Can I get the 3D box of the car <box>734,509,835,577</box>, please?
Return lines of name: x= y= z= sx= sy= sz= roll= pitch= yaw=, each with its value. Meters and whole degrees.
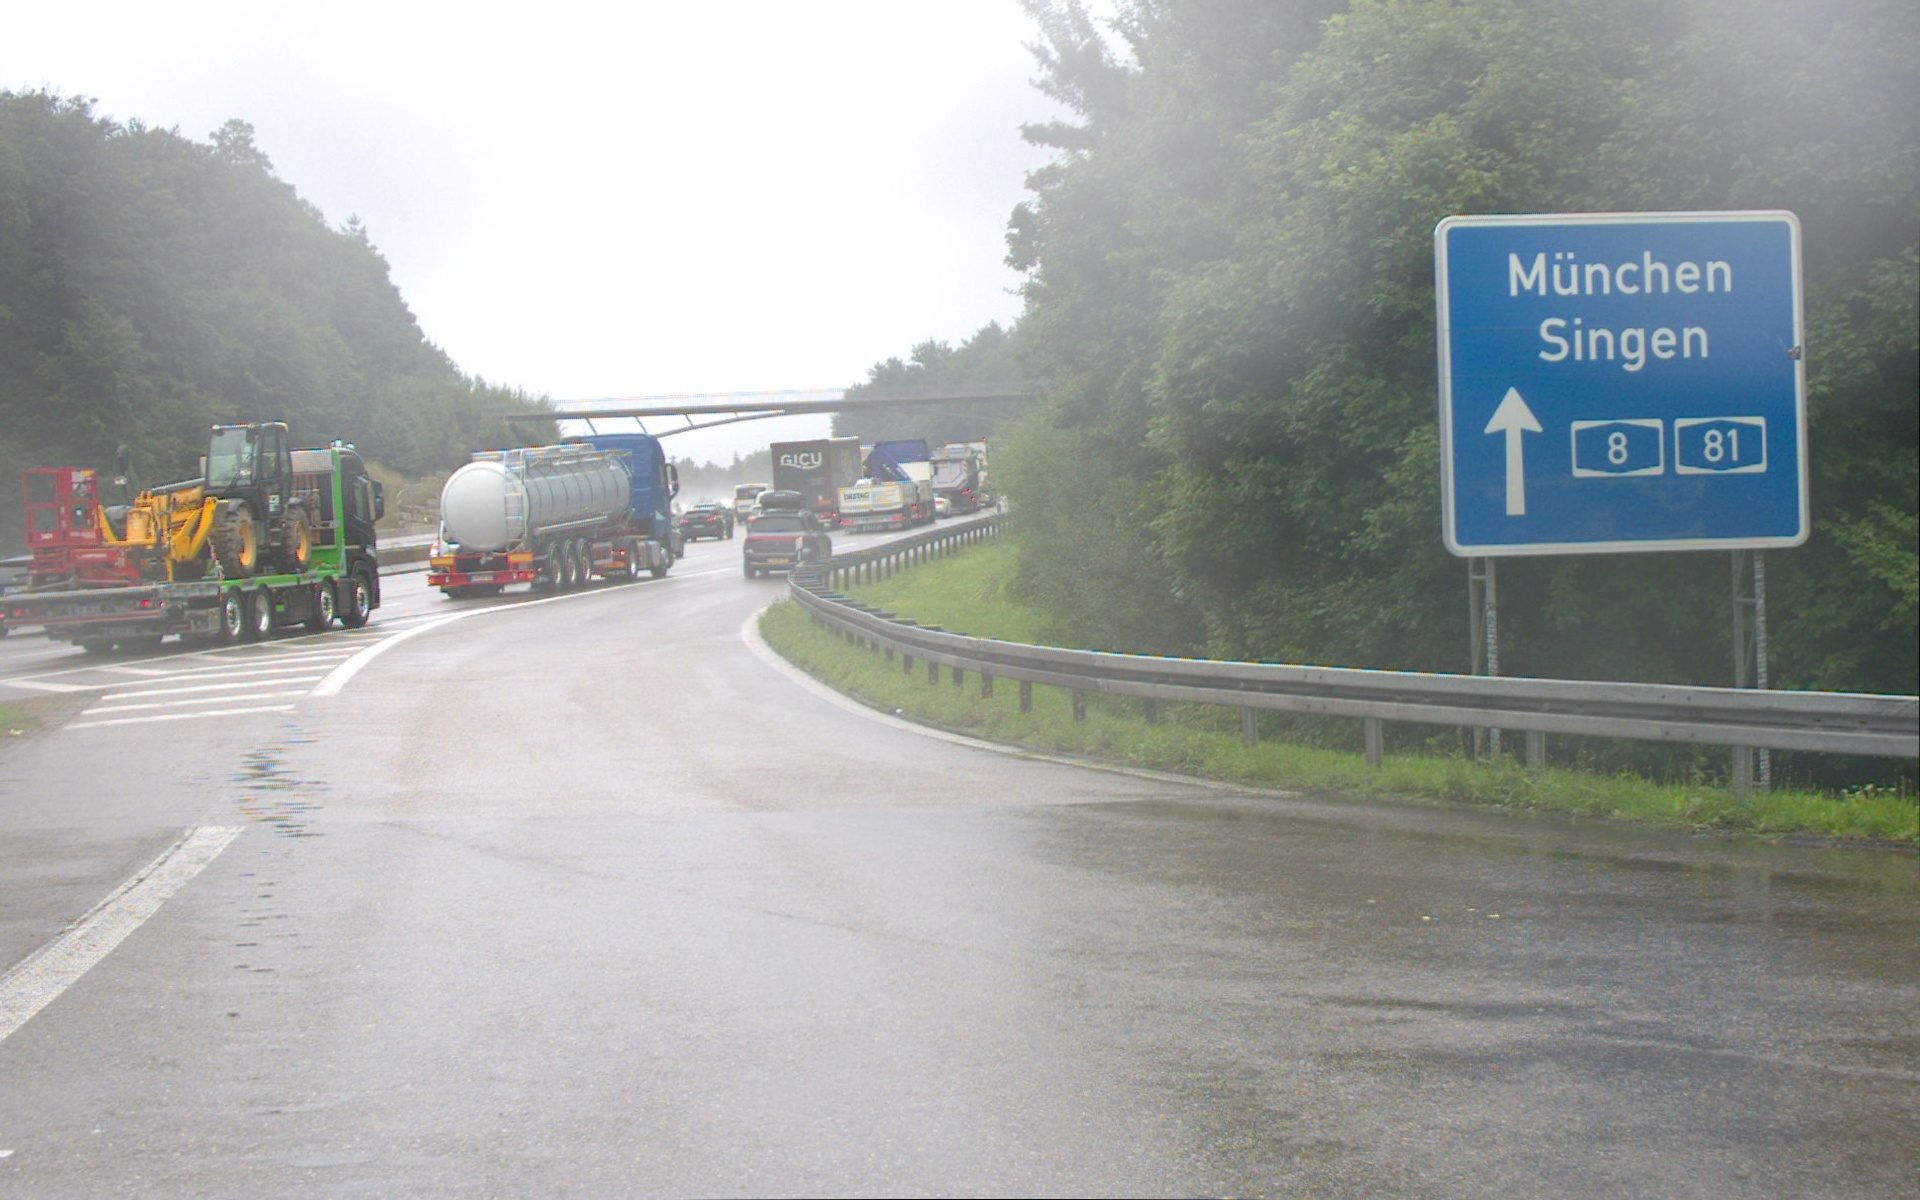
car: x=-4.326 y=-1.417 z=85.245 sx=1.994 sy=1.630 sz=3.999 roll=1 pitch=1 yaw=4

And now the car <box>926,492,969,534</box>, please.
car: x=-0.598 y=-4.255 z=168.543 sx=1.798 sy=1.897 sz=4.000 roll=-3 pitch=1 yaw=4

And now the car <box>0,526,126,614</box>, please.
car: x=-18.587 y=-0.625 z=70.211 sx=1.786 sy=1.721 sz=3.999 roll=1 pitch=1 yaw=6

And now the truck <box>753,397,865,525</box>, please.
truck: x=-6.755 y=-6.189 z=155.502 sx=3.755 sy=5.480 sz=10.171 roll=1 pitch=1 yaw=5

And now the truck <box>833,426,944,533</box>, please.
truck: x=-2.907 y=-5.076 z=143.642 sx=3.600 sy=4.090 sz=11.560 roll=-3 pitch=2 yaw=3

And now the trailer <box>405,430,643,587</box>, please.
trailer: x=-9.981 y=-2.217 z=79.980 sx=2.874 sy=3.277 sz=10.076 roll=-3 pitch=2 yaw=7

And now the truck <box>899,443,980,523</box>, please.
truck: x=-1.013 y=-6.132 z=182.233 sx=3.755 sy=3.957 sz=11.059 roll=1 pitch=1 yaw=2

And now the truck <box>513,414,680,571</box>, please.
truck: x=-9.111 y=-2.743 z=86.680 sx=2.878 sy=3.680 sz=5.055 roll=-3 pitch=2 yaw=8

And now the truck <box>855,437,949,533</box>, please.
truck: x=-2.629 y=-5.262 z=159.592 sx=3.507 sy=4.253 sz=10.602 roll=0 pitch=1 yaw=4

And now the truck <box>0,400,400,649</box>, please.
truck: x=-12.591 y=-1.341 z=57.431 sx=2.832 sy=3.576 sz=11.795 roll=-3 pitch=2 yaw=8

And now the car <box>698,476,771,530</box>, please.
car: x=-13.056 y=-5.624 z=199.510 sx=3.247 sy=2.992 sz=6.772 roll=1 pitch=1 yaw=5

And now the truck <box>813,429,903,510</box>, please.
truck: x=-5.575 y=-7.148 z=190.216 sx=3.577 sy=4.081 sz=10.878 roll=-2 pitch=1 yaw=5

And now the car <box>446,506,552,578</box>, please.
car: x=-12.054 y=-1.546 z=90.155 sx=1.820 sy=1.760 sz=4.000 roll=-2 pitch=2 yaw=5

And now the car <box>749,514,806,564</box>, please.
car: x=-7.146 y=-2.385 z=134.901 sx=1.798 sy=1.897 sz=4.000 roll=0 pitch=1 yaw=4

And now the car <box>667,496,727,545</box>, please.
car: x=-10.841 y=-3.271 z=141.844 sx=1.798 sy=1.897 sz=4.000 roll=-3 pitch=1 yaw=5

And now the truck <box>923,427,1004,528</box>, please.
truck: x=0.256 y=-7.240 z=205.137 sx=4.336 sy=5.744 sz=9.730 roll=1 pitch=1 yaw=3
